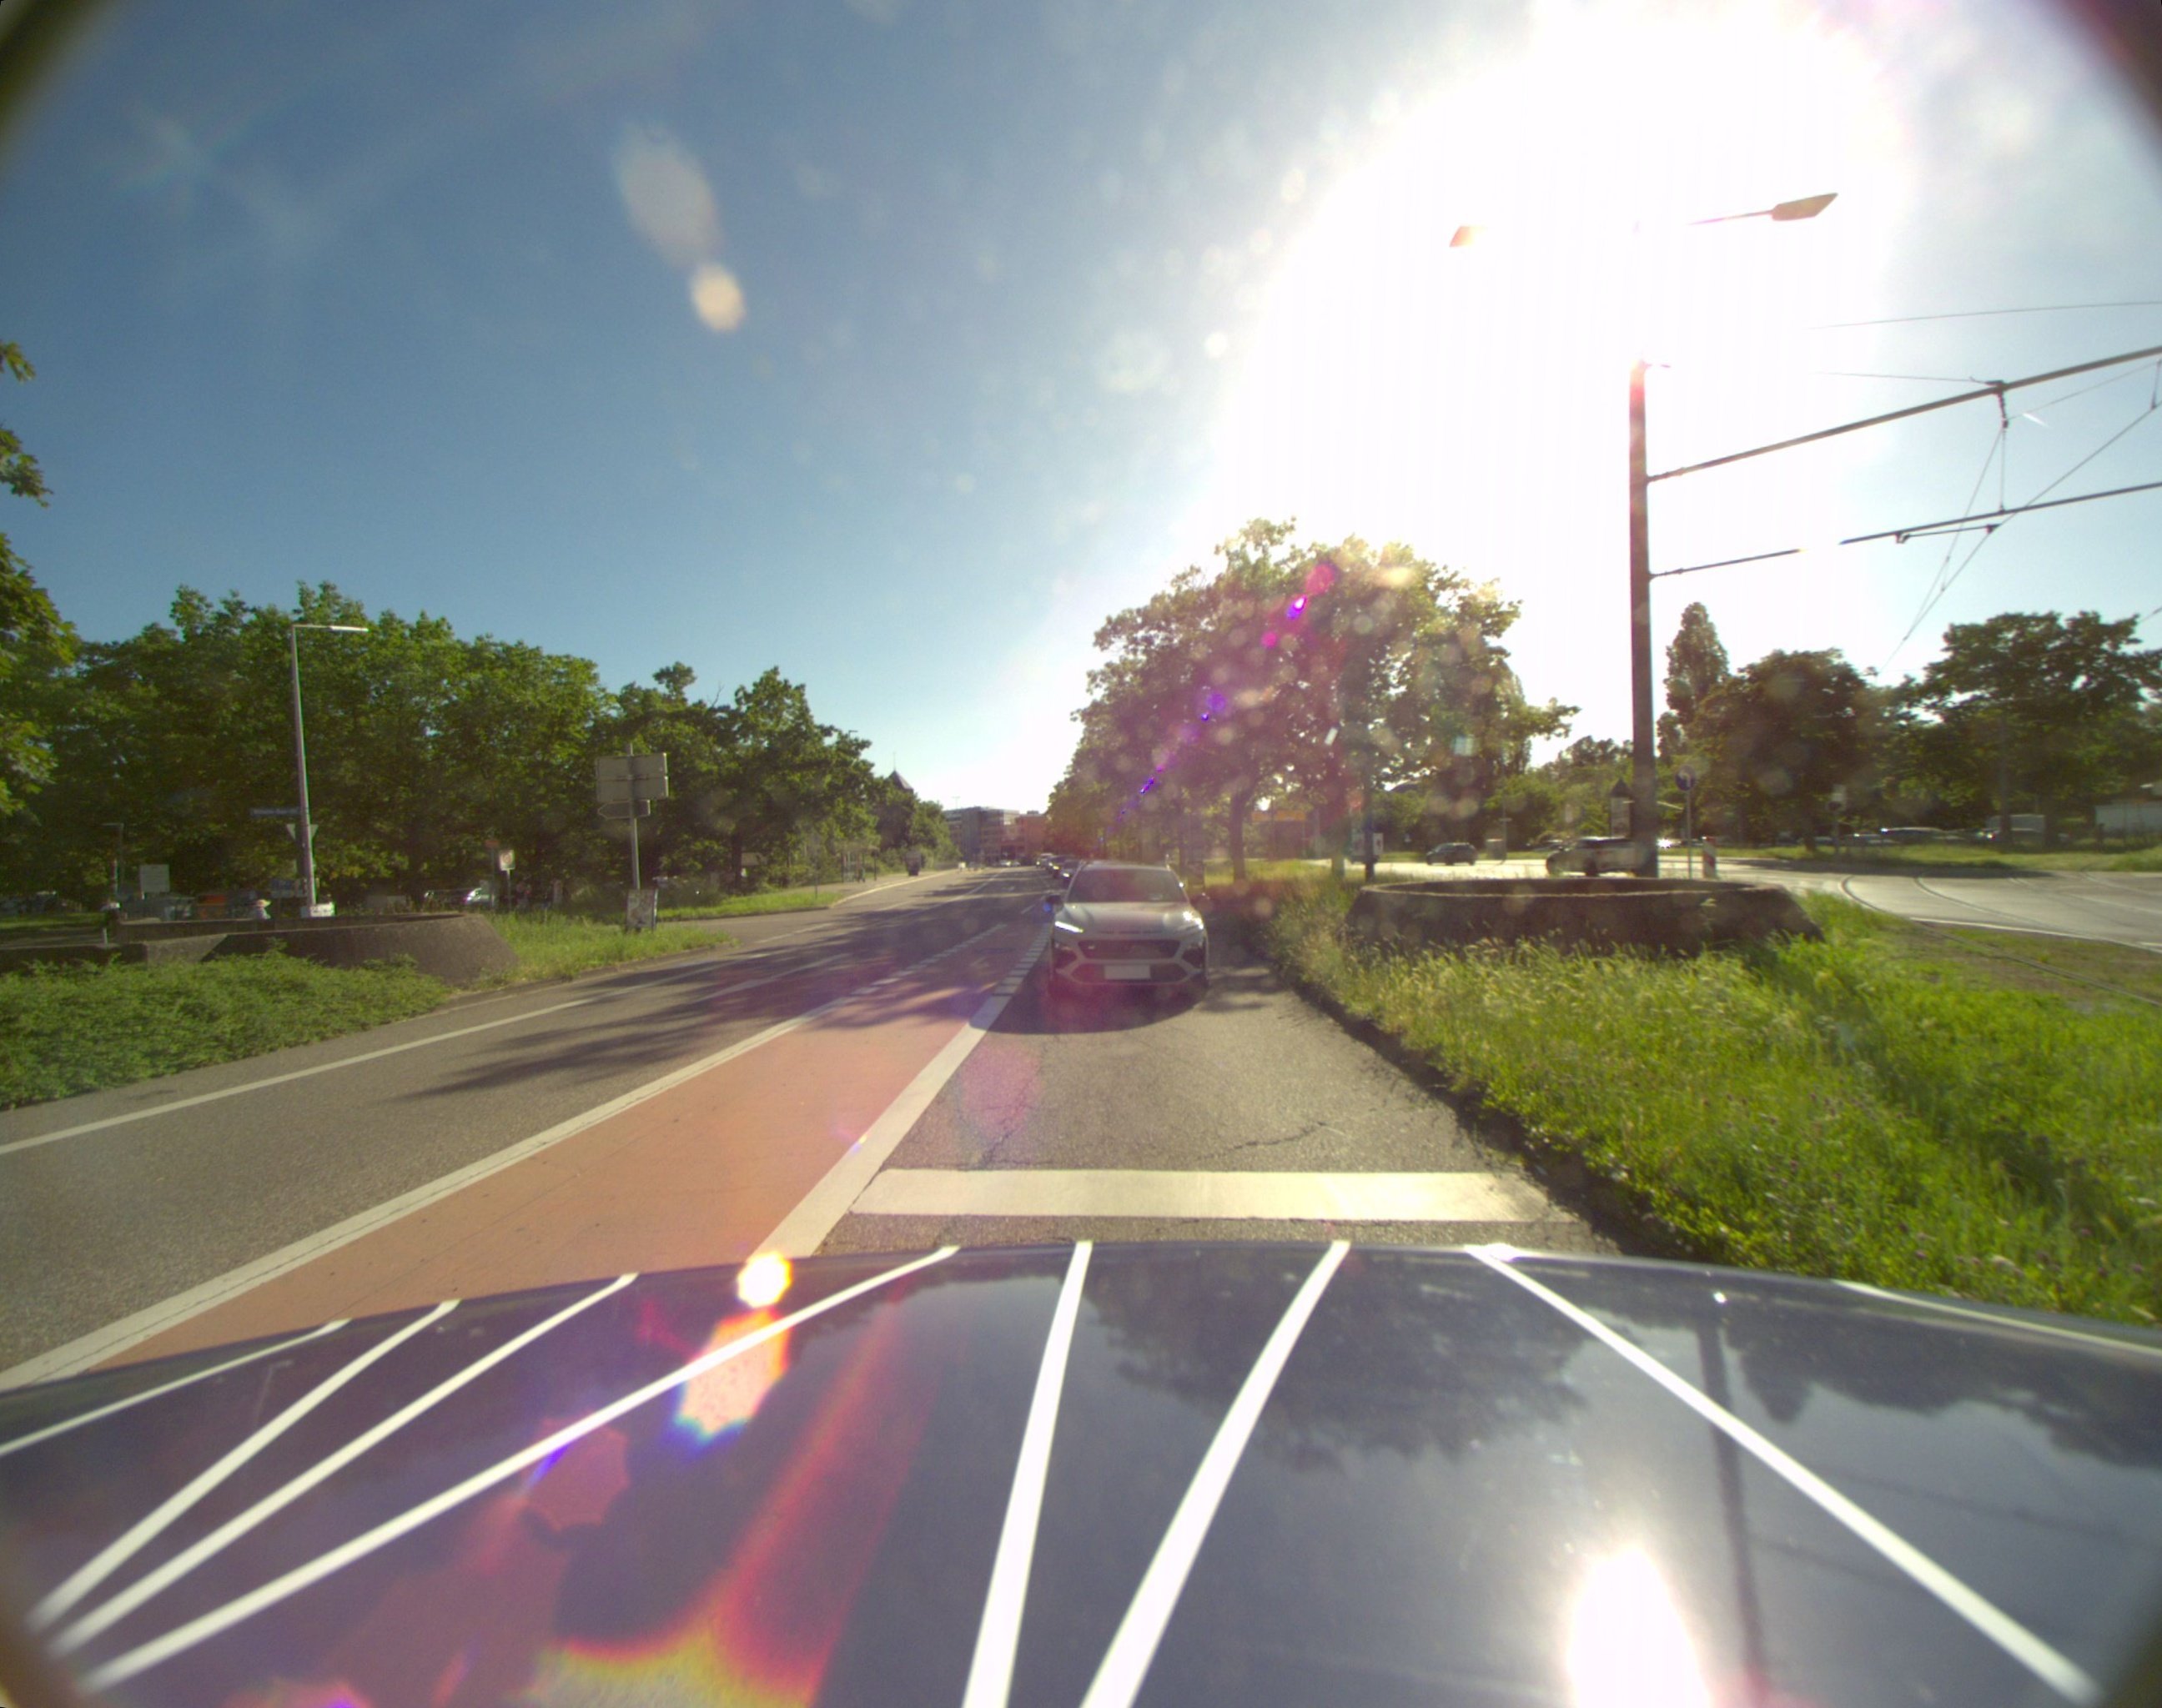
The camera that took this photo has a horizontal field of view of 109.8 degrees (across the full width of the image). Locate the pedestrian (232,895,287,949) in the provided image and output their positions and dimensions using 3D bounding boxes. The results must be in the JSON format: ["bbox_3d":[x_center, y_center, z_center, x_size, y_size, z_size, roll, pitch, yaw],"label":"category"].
[{"bbox_3d":[-24.460,2.005,22.644,0.652,1.489,0.908,-2,1,-13],"label":"pedestrian"}]

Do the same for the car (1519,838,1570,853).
[{"bbox_3d":[53.506,-0.966,87.748,2.003,1.456,4.545,-4,2,-34],"label":"car"}]

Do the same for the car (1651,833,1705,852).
[{"bbox_3d":[47.177,-0.921,60.061,4.006,1.275,1.995,-2,1,-30],"label":"car"}]

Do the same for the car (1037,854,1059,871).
[{"bbox_3d":[-2.957,0.753,68.876,1.782,1.397,3.999,-2,0,-1],"label":"car"}]

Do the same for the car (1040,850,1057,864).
[{"bbox_3d":[-4.139,0.410,97.082,1.744,1.539,4.001,-3,-1,1],"label":"car"}]

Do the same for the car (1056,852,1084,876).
[{"bbox_3d":[-0.765,0.672,55.125,1.875,1.622,4.000,-2,0,1],"label":"car"}]

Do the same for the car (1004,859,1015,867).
[{"bbox_3d":[-13.772,1.719,146.359,1.999,1.524,3.998,-2,0,-4],"label":"car"}]

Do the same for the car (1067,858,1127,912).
[{"bbox_3d":[0.507,0.944,24.828,1.744,1.539,4.000,-2,0,1],"label":"car"}]

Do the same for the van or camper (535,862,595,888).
[{"bbox_3d":[-46.688,1.893,68.905,2.459,2.146,5.322,-2,0,-10],"label":"van or camper"}]

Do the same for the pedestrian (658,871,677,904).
[{"bbox_3d":[-19.517,1.565,35.882,0.529,1.509,0.613,-2,1,-2],"label":"pedestrian"}]

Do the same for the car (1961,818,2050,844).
[{"bbox_3d":[69.880,-1.713,57.501,1.884,1.709,3.955,-2,0,-28],"label":"car"}]

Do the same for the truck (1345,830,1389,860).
[{"bbox_3d":[24.233,-0.729,64.444,1.793,2.413,4.108,-2,1,-5],"label":"truck"}]

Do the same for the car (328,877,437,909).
[{"bbox_3d":[-35.198,1.945,38.372,3.651,1.267,1.621,-2,3,-10],"label":"car"}]

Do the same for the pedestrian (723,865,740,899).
[{"bbox_3d":[-17.453,1.403,37.962,0.604,1.690,0.410,-2,1,-5],"label":"pedestrian"}]

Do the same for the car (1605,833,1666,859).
[{"bbox_3d":[46.056,-0.683,63.098,5.007,2.002,2.234,-2,0,-30],"label":"car"}]

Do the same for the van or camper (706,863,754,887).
[{"bbox_3d":[-31.079,1.820,67.469,2.458,1.902,5.323,-2,0,-8],"label":"van or camper"}]

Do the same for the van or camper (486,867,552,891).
[{"bbox_3d":[-50.390,2.232,68.266,2.458,1.902,5.323,-2,0,-8],"label":"van or camper"}]

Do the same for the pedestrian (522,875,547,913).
[{"bbox_3d":[-24.106,1.769,33.539,0.599,1.610,0.566,-4,2,-10],"label":"pedestrian"}]

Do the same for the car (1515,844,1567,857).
[{"bbox_3d":[42.359,-0.293,70.064,1.822,1.122,3.996,-2,0,-11],"label":"car"}]

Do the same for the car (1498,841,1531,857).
[{"bbox_3d":[42.545,-0.518,74.688,1.819,1.440,4.004,-2,0,15],"label":"car"}]

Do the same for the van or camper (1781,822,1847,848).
[{"bbox_3d":[62.770,-1.573,65.155,1.997,2.084,4.405,-2,0,12],"label":"van or camper"}]

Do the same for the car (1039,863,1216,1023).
[{"bbox_3d":[0.519,0.953,9.865,1.780,1.542,3.980,-2,0,1],"label":"car"}]

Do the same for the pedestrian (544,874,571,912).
[{"bbox_3d":[-23.223,1.715,33.691,0.705,1.610,0.566,-4,2,-10],"label":"pedestrian"}]

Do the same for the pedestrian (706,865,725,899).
[{"bbox_3d":[-18.000,1.382,37.461,0.623,1.625,0.551,-2,1,-4],"label":"pedestrian"}]

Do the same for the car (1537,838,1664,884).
[{"bbox_3d":[19.710,0.238,29.103,1.998,1.553,4.387,-2,0,3],"label":"car"}]

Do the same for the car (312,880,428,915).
[{"bbox_3d":[-33.404,2.016,35.782,3.588,1.307,1.621,-2,3,-10],"label":"car"}]

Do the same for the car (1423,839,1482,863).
[{"bbox_3d":[24.642,-0.190,50.622,1.667,1.440,4.401,-2,0,-1],"label":"car"}]

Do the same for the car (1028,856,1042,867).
[{"bbox_3d":[-6.820,1.066,112.279,1.829,1.464,3.999,-2,0,0],"label":"car"}]

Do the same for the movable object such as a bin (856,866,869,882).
[{"bbox_3d":[-14.593,1.325,50.713,0.728,1.024,0.578,-2,1,-5],"label":"movable object such as a bin"}]

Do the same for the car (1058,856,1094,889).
[{"bbox_3d":[-0.220,0.896,38.799,1.678,1.499,3.948,-2,0,1],"label":"car"}]
